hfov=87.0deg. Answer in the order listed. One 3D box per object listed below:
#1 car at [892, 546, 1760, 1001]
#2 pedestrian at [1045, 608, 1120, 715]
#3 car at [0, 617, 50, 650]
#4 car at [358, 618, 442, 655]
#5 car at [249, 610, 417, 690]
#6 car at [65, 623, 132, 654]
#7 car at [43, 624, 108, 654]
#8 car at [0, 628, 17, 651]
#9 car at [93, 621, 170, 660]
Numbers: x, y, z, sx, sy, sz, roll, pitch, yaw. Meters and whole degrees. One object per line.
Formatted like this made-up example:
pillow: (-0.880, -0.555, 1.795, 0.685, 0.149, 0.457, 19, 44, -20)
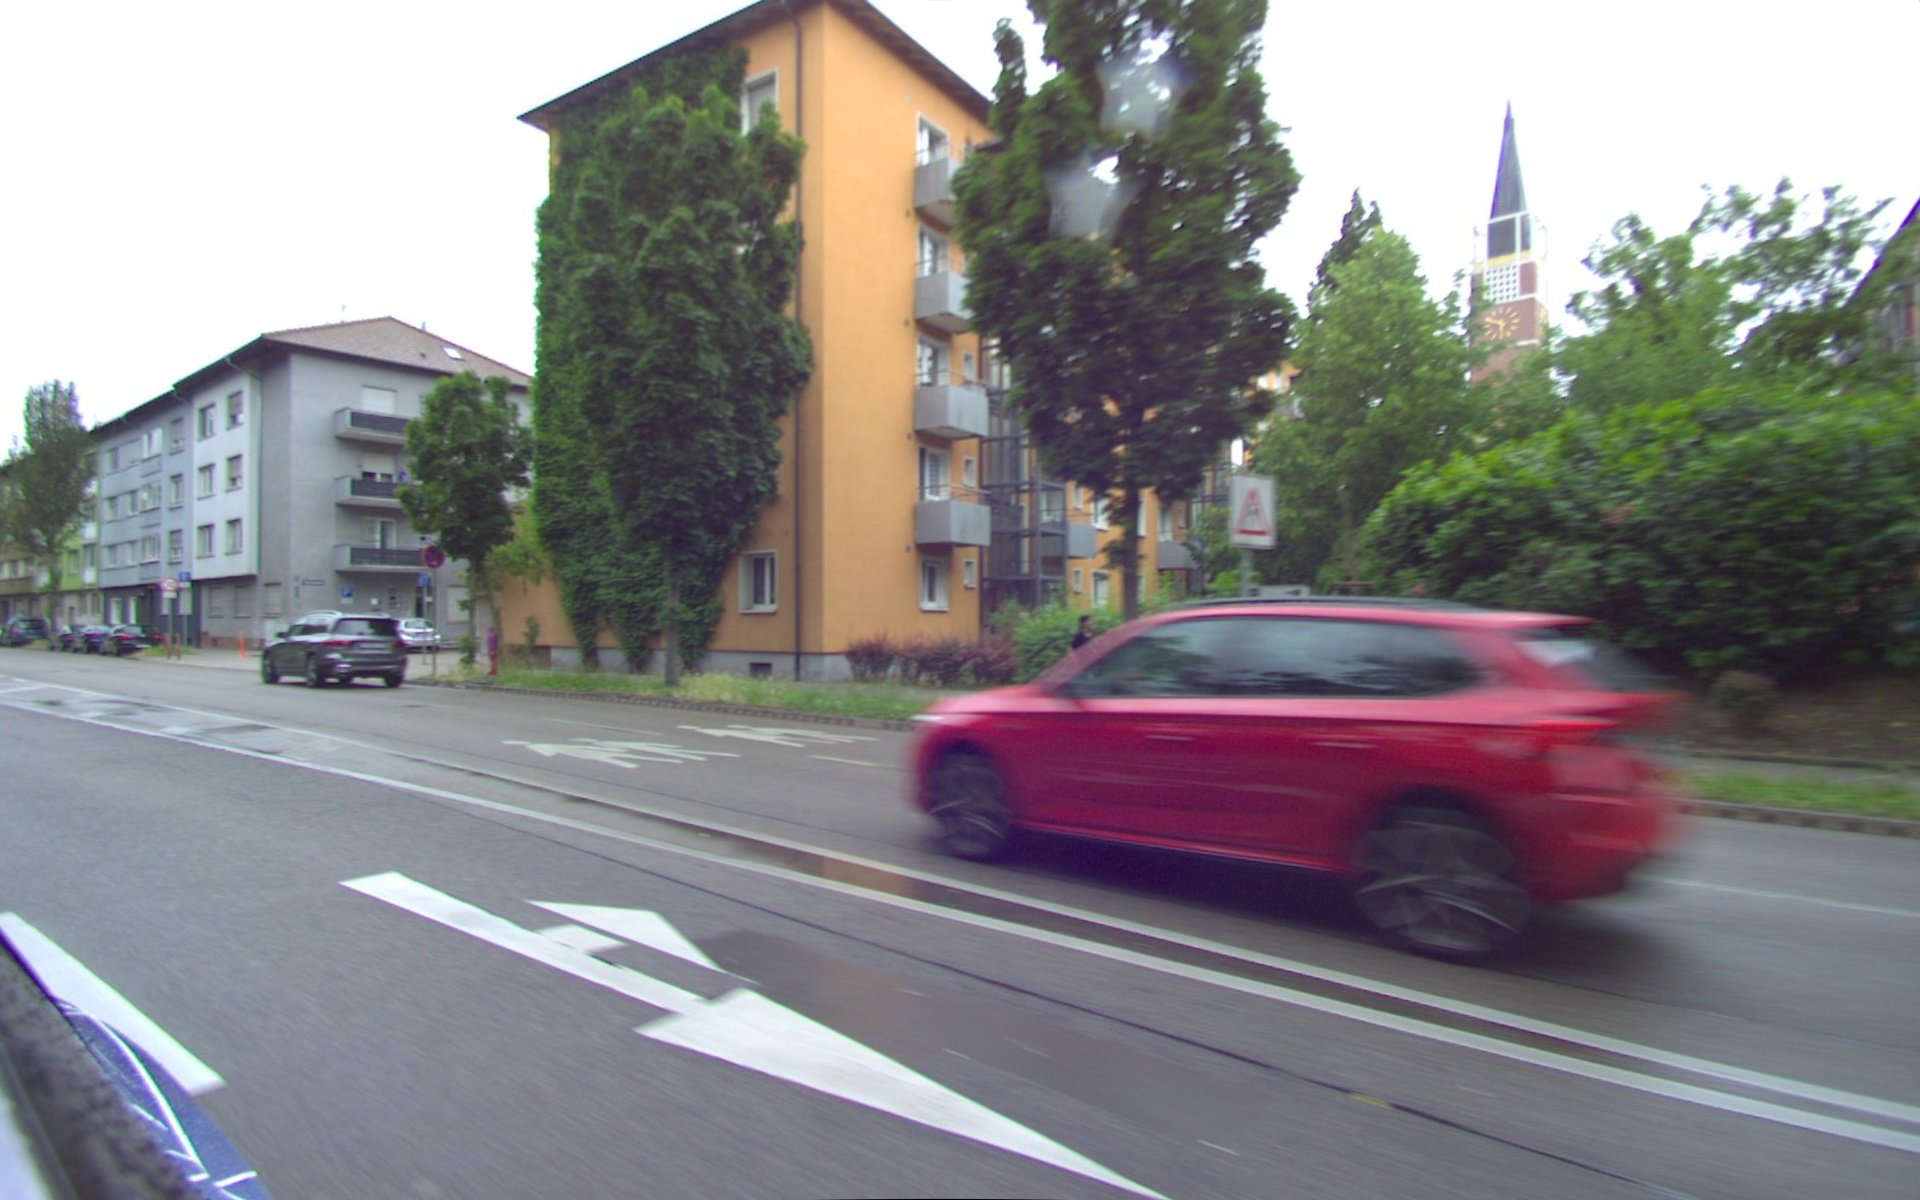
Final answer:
car: (1.657, 0.644, 5.529, 4.141, 1.575, 1.658, -2, -1, 42)
pedestrian: (1.738, 0.855, 14.360, 0.835, 1.460, 0.664, -2, -2, 40)
car: (-56.444, 2.001, 60.810, 4.309, 1.884, 1.882, -1, -1, 38)
car: (-24.457, 1.578, 44.126, 4.224, 1.537, 1.713, -1, -2, 39)
car: (-14.382, 1.118, 23.124, 4.497, 1.643, 1.903, -1, -3, 40)
car: (-41.575, 1.835, 48.828, 3.921, 1.394, 1.705, -1, -2, 38)
car: (-45.905, 2.031, 52.483, 4.309, 1.492, 1.705, -1, -4, 38)
car: (-60.932, 2.505, 63.876, 3.442, 1.387, 1.528, -2, -3, 38)
car: (-37.133, 1.772, 45.307, 4.243, 1.556, 1.829, -1, 1, 39)
